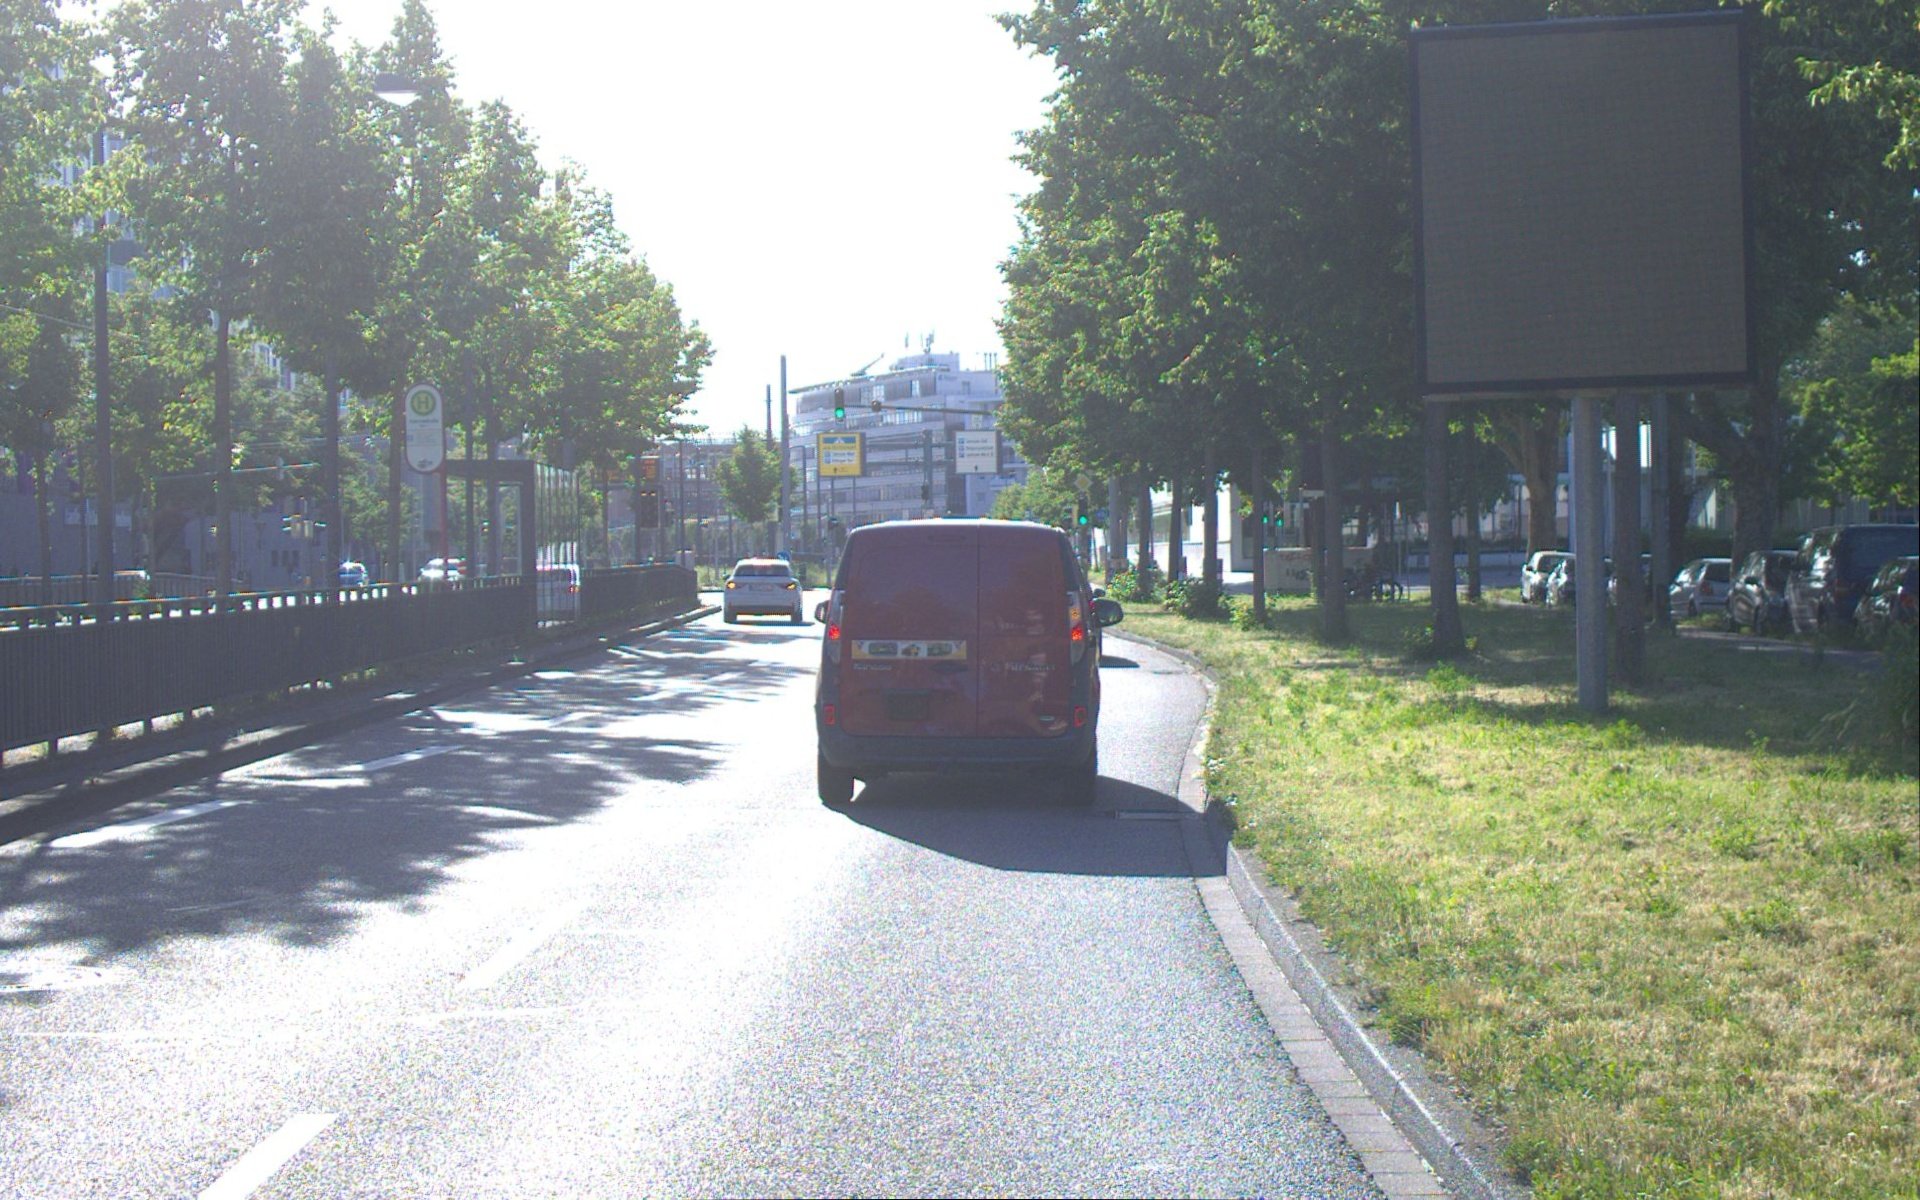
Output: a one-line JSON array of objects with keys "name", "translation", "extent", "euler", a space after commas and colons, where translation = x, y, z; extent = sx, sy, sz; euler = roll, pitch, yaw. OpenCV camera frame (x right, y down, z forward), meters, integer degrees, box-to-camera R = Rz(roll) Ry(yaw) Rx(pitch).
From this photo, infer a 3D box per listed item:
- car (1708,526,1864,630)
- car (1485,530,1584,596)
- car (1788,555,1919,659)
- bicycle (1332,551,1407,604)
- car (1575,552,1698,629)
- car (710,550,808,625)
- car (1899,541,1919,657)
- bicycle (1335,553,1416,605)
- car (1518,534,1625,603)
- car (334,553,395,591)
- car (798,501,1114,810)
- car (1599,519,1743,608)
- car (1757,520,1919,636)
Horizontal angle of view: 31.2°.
[{"name": "car", "translation": [14.090, -0.372, 58.856], "extent": [1.871, 1.678, 4.000], "euler": [1, 0, 3]}, {"name": "car", "translation": [15.305, -0.981, 91.802], "extent": [1.871, 1.678, 4.000], "euler": [1, 0, -1]}, {"name": "car", "translation": [12.924, 0.094, 47.617], "extent": [1.871, 1.363, 4.000], "euler": [1, 0, -1]}, {"name": "bicycle", "translation": [10.076, -0.549, 84.670], "extent": [1.778, 1.264, 0.479], "euler": [1, 0, 1]}, {"name": "car", "translation": [15.374, -0.217, 78.334], "extent": [1.871, 1.678, 4.000], "euler": [1, 0, -2]}, {"name": "car", "translation": [-4.527, -0.284, 77.969], "extent": [1.993, 1.612, 4.000], "euler": [1, 0, 0]}, {"name": "car", "translation": [12.723, 0.012, 40.564], "extent": [1.871, 1.429, 4.902], "euler": [1, 0, -1]}, {"name": "bicycle", "translation": [10.160, -0.521, 84.119], "extent": [1.918, 1.264, 0.479], "euler": [0, 1, 1]}, {"name": "car", "translation": [15.484, -0.792, 87.275], "extent": [1.871, 1.678, 4.000], "euler": [1, 0, -2]}, {"name": "car", "translation": [-28.694, -1.347, 165.673], "extent": [1.994, 1.759, 3.999], "euler": [1, 0, 4]}, {"name": "car", "translation": [-0.115, 0.322, 22.716], "extent": [1.808, 1.831, 4.001], "euler": [1, 0, -4]}, {"name": "car", "translation": [14.081, -0.719, 68.271], "extent": [1.871, 1.678, 4.000], "euler": [-1, 0, -2]}, {"name": "car", "translation": [13.659, -0.331, 52.714], "extent": [1.871, 1.678, 4.000], "euler": [1, 0, -1]}]
